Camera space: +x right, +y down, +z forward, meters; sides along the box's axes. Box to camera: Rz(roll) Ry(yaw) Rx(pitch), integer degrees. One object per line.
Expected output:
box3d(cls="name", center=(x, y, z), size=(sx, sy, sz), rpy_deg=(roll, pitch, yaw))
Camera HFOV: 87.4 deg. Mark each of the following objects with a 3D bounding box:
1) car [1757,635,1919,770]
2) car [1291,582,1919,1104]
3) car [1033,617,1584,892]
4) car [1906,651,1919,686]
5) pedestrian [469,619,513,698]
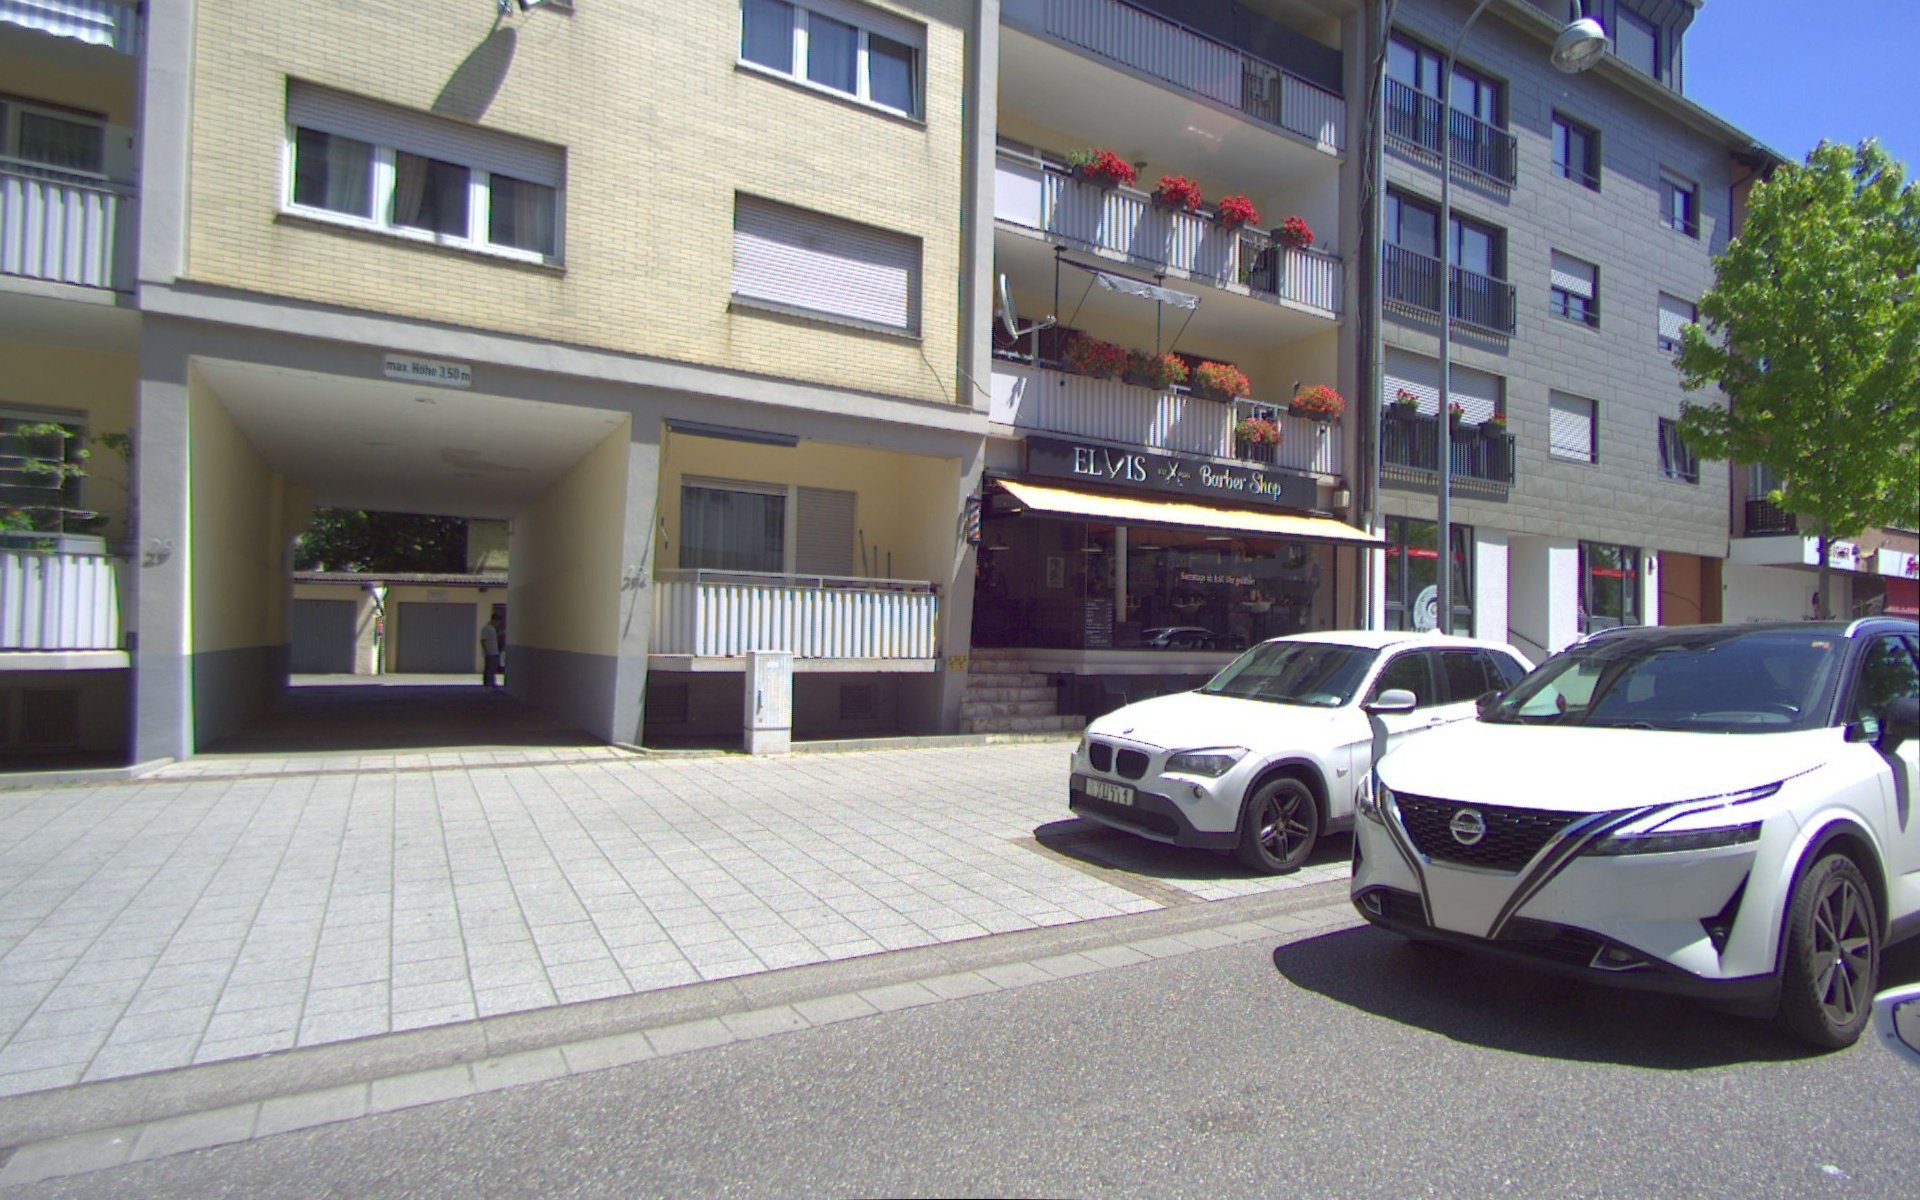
box3d(cls="car", center=(11.897, 1.216, 12.769), size=(3.506, 1.493, 1.614), rpy_deg=(2, -2, -30))
box3d(cls="car", center=(3.862, 0.895, 5.070), size=(4.249, 1.653, 1.764), rpy_deg=(2, -5, -30))
box3d(cls="car", center=(2.806, 0.992, 7.815), size=(4.249, 1.613, 1.687), rpy_deg=(2, 0, -30))
box3d(cls="car", center=(43.246, 2.938, 42.489), size=(1.750, 1.476, 4.398), rpy_deg=(1, -2, -33))
box3d(cls="pedestrian", center=(-10.253, 1.262, 21.950), size=(0.782, 1.689, 0.707), rpy_deg=(2, -2, -29))
